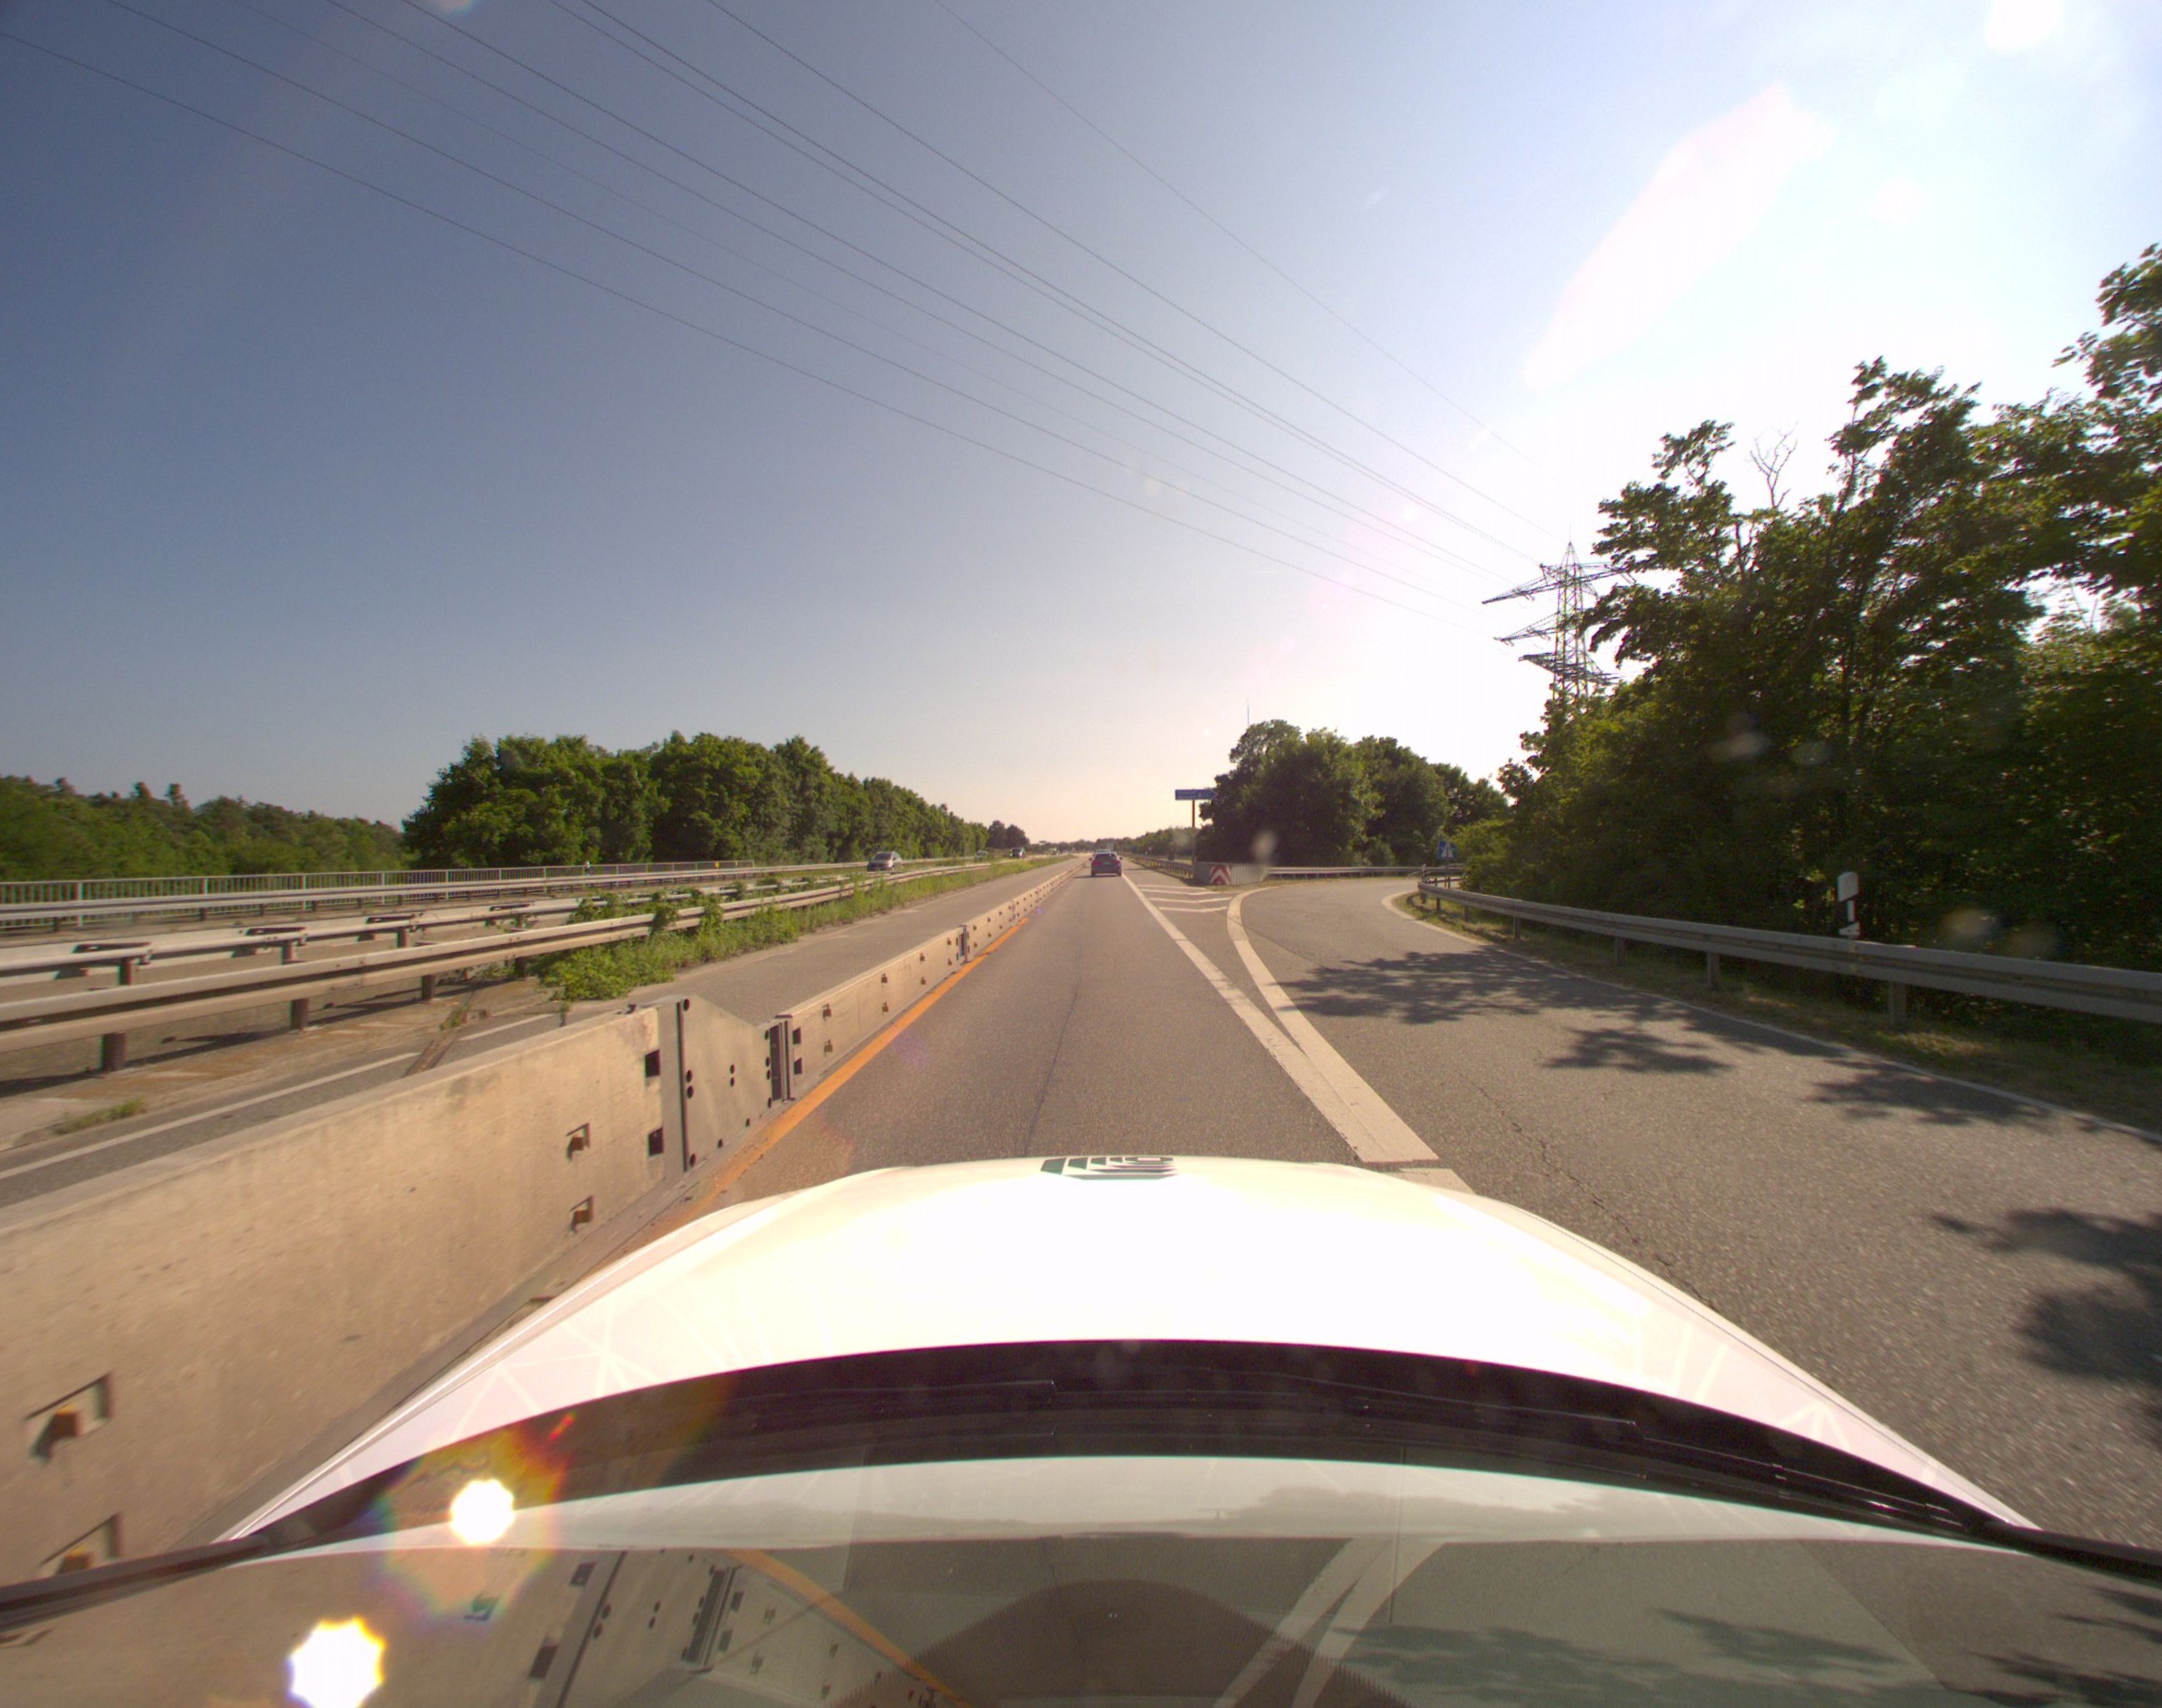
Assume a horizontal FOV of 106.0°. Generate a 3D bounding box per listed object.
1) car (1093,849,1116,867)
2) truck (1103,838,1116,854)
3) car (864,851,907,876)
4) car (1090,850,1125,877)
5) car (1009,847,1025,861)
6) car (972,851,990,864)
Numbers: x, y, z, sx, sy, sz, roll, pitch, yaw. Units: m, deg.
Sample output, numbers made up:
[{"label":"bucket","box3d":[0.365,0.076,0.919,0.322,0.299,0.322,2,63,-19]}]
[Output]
[{"label":"car","box3d":[2.186,0.363,75.623,1.986,1.567,4.002,-2,0,2]},{"label":"truck","box3d":[9.366,-2.643,267.401,3.748,4.911,14.136,-1,0,0]},{"label":"car","box3d":[-13.600,0.633,56.982,1.756,1.583,4.424,-2,1,2]},{"label":"car","box3d":[1.540,0.532,48.335,1.914,1.494,4.000,-1,0,0]},{"label":"car","box3d":[-10.175,-0.045,129.239,1.986,2.034,5.170,-2,0,1]},{"label":"car","box3d":[-12.295,0.456,100.362,1.641,1.531,3.819,-1,0,1]}]
